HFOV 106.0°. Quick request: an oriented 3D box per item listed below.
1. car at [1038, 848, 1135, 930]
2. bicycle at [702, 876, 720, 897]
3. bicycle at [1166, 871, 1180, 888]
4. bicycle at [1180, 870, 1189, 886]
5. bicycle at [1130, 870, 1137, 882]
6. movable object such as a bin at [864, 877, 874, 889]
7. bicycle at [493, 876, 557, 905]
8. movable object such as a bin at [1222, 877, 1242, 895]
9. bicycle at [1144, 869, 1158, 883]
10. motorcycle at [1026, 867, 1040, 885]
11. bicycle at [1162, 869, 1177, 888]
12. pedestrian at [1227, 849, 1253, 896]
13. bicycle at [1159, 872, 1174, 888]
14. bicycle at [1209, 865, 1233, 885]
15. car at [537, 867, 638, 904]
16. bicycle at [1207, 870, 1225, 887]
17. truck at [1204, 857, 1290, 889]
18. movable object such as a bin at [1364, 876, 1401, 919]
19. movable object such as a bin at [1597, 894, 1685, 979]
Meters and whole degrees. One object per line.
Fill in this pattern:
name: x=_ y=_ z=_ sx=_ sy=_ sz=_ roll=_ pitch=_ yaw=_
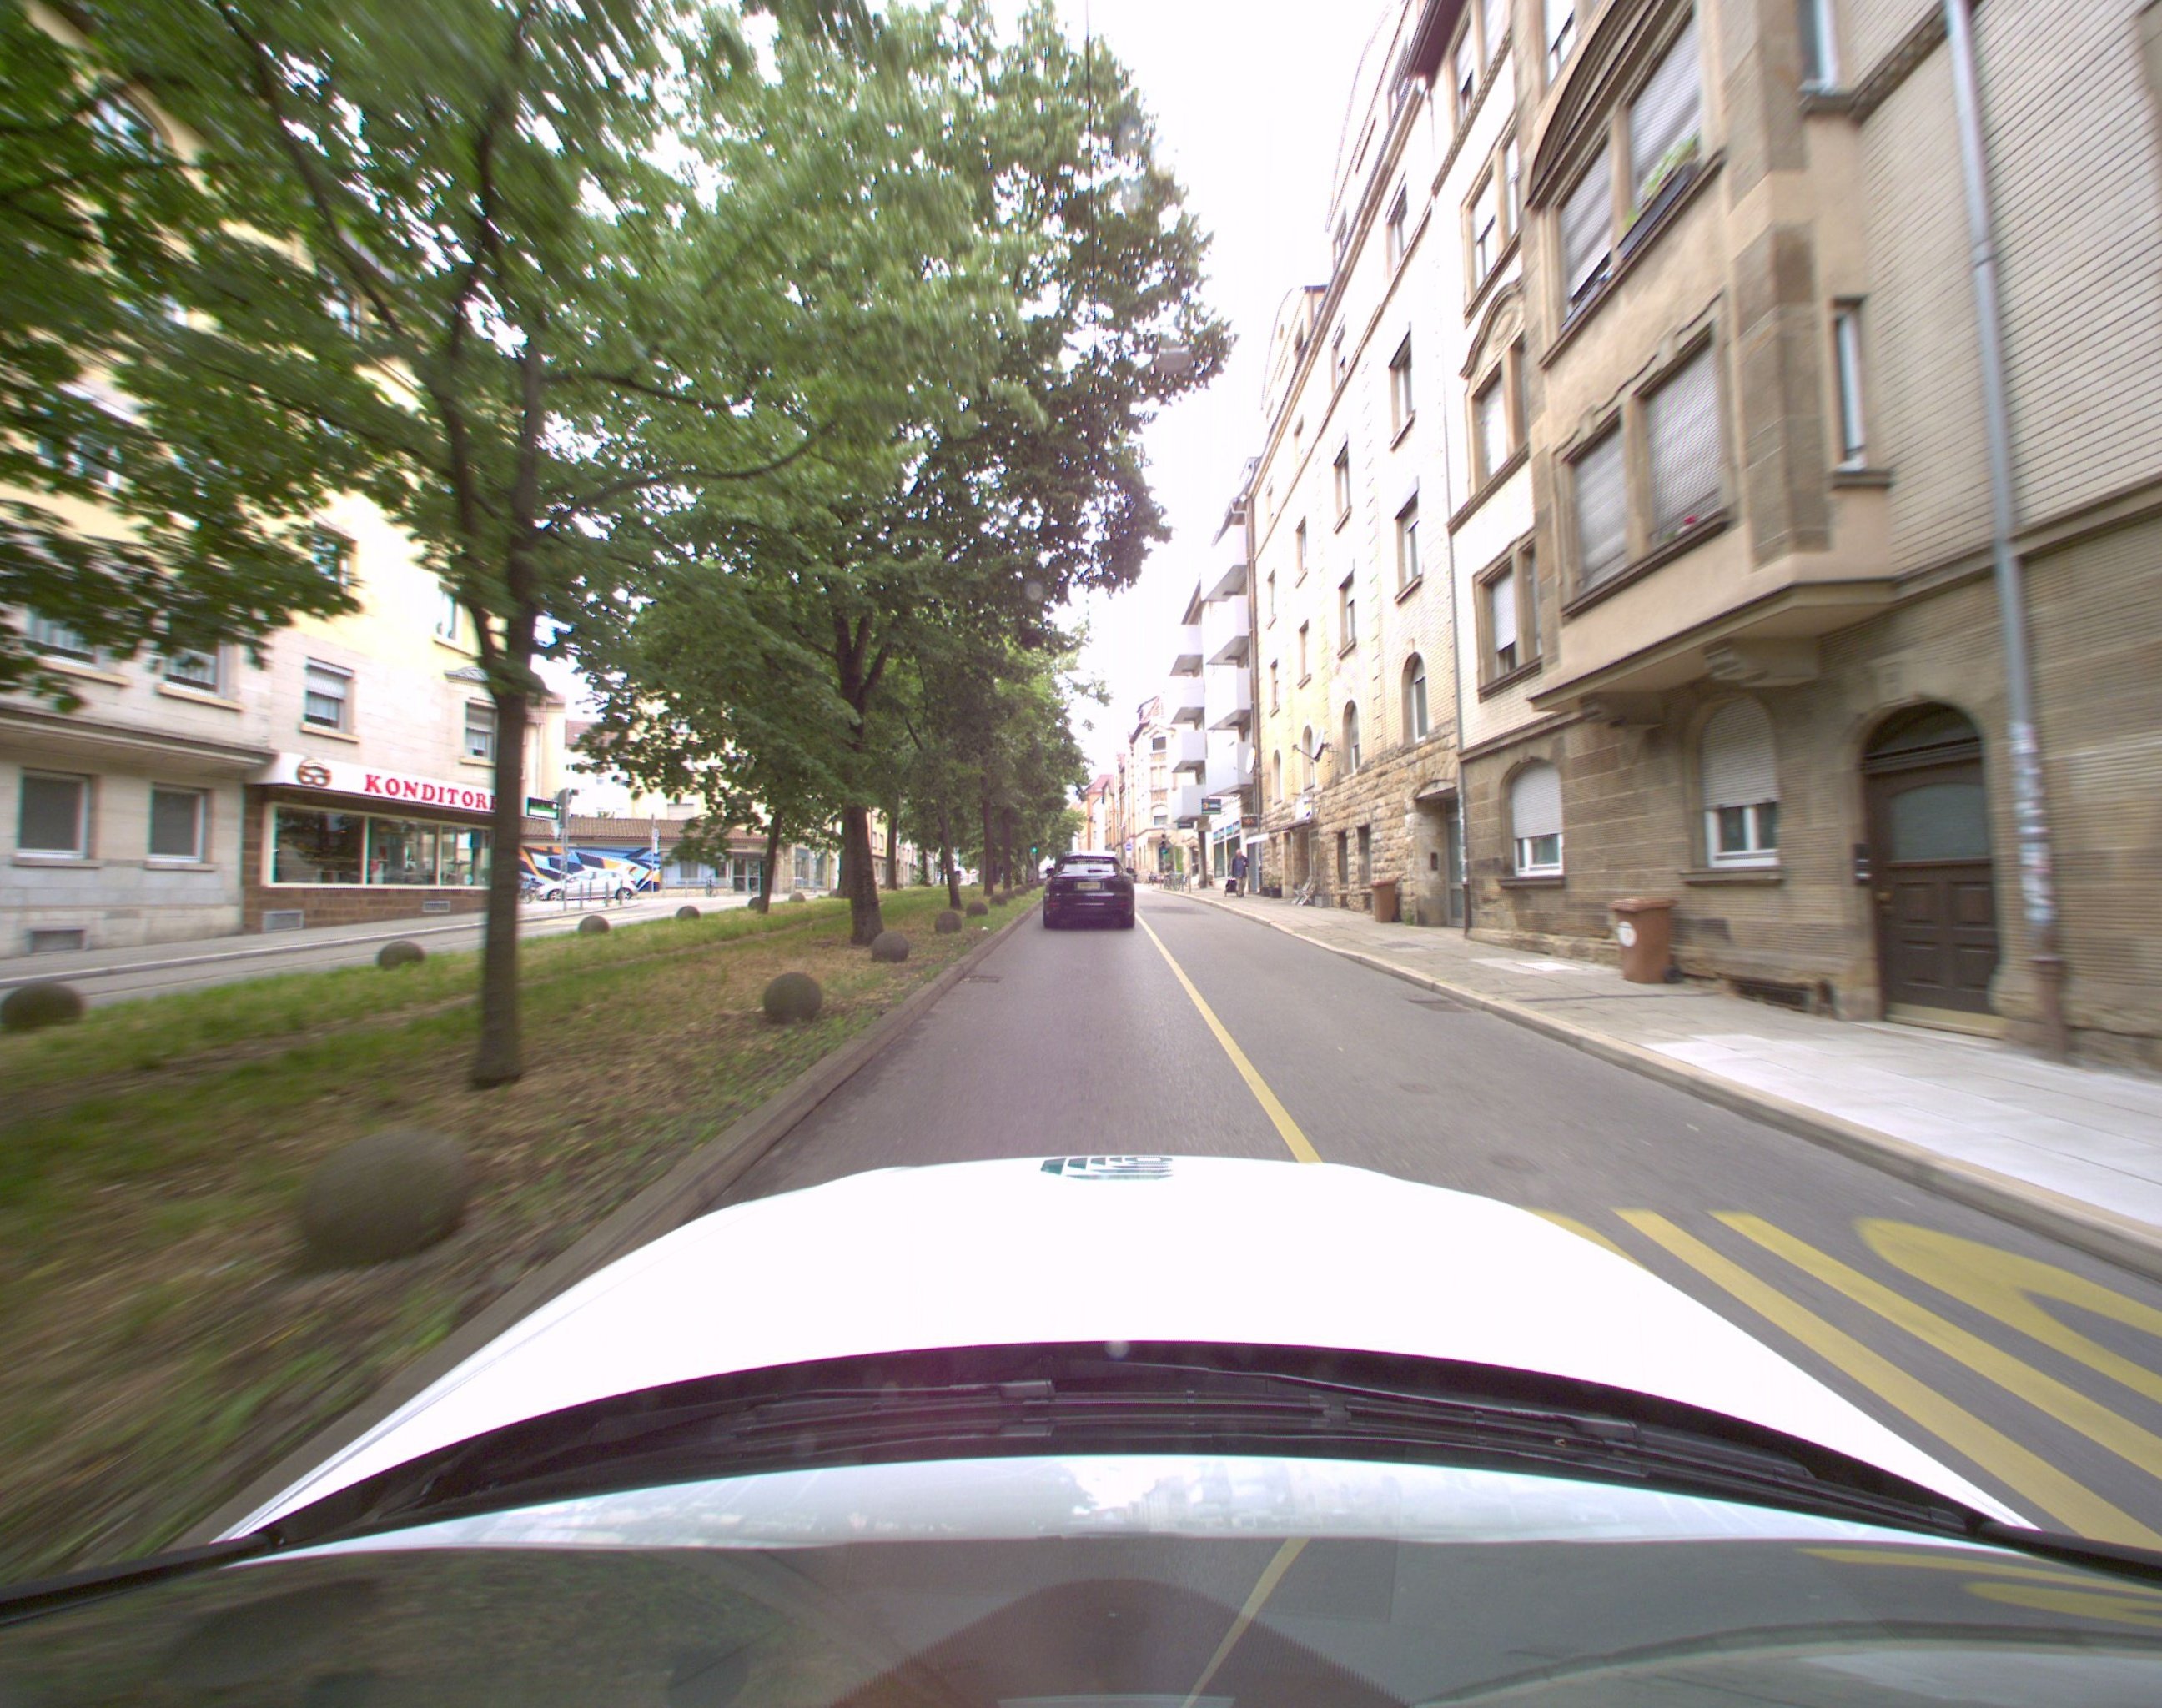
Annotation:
car: x=0.162 y=0.721 z=18.742 sx=1.986 sy=1.665 sz=4.001 roll=0 pitch=0 yaw=1
bicycle: x=-19.255 y=1.695 z=42.400 sx=0.765 sy=1.085 sz=2.021 roll=1 pitch=-3 yaw=-22
bicycle: x=4.944 y=1.382 z=43.801 sx=0.567 sy=0.931 sz=1.774 roll=0 pitch=-2 yaw=0
bicycle: x=8.526 y=1.946 z=66.997 sx=0.445 sy=1.161 sz=1.833 roll=-2 pitch=3 yaw=-2
bicycle: x=5.181 y=2.174 z=80.150 sx=0.445 sy=1.037 sz=2.246 roll=-1 pitch=-3 yaw=-2
movable object such as a bin: x=-18.465 y=2.507 z=70.927 sx=0.691 sy=1.060 sz=0.688 roll=0 pitch=-3 yaw=-6
bicycle: x=-20.851 y=1.347 z=30.536 sx=2.429 sy=1.046 sz=0.873 roll=0 pitch=-2 yaw=27
movable object such as a bin: x=5.715 y=1.222 z=30.900 sx=0.605 sy=0.669 sz=0.858 roll=-2 pitch=-2 yaw=1
bicycle: x=5.942 y=1.874 z=69.016 sx=0.876 sy=1.129 sz=2.977 roll=0 pitch=-2 yaw=-1
motorcycle: x=-4.115 y=1.866 z=69.598 sx=1.016 sy=1.446 sz=2.246 roll=-2 pitch=-2 yaw=-1
bicycle: x=5.082 y=1.431 z=46.953 sx=0.286 sy=1.054 sz=1.753 roll=0 pitch=-2 yaw=-13
pedestrian: x=5.862 y=0.687 z=30.055 sx=0.748 sy=1.693 sz=0.858 roll=-2 pitch=-2 yaw=1
bicycle: x=4.902 y=1.482 z=46.631 sx=0.286 sy=0.931 sz=1.753 roll=0 pitch=-2 yaw=-13
bicycle: x=8.394 y=1.280 z=48.811 sx=0.320 sy=1.199 sz=1.743 roll=1 pitch=-3 yaw=-32
car: x=-23.939 y=1.530 z=39.556 sx=4.057 sy=1.479 sz=1.802 roll=-3 pitch=-1 yaw=-33
bicycle: x=8.287 y=1.510 z=50.202 sx=0.319 sy=1.043 sz=1.750 roll=0 pitch=-2 yaw=-18
truck: x=11.949 y=1.379 z=58.764 sx=5.560 sy=2.133 sz=2.373 roll=2 pitch=-2 yaw=-11
movable object such as a bin: x=6.509 y=0.951 z=17.605 sx=0.592 sy=0.904 sz=0.503 roll=0 pitch=-4 yaw=1
movable object such as a bin: x=6.253 y=0.910 z=9.113 sx=0.592 sy=0.904 sz=0.563 roll=0 pitch=-1 yaw=1
